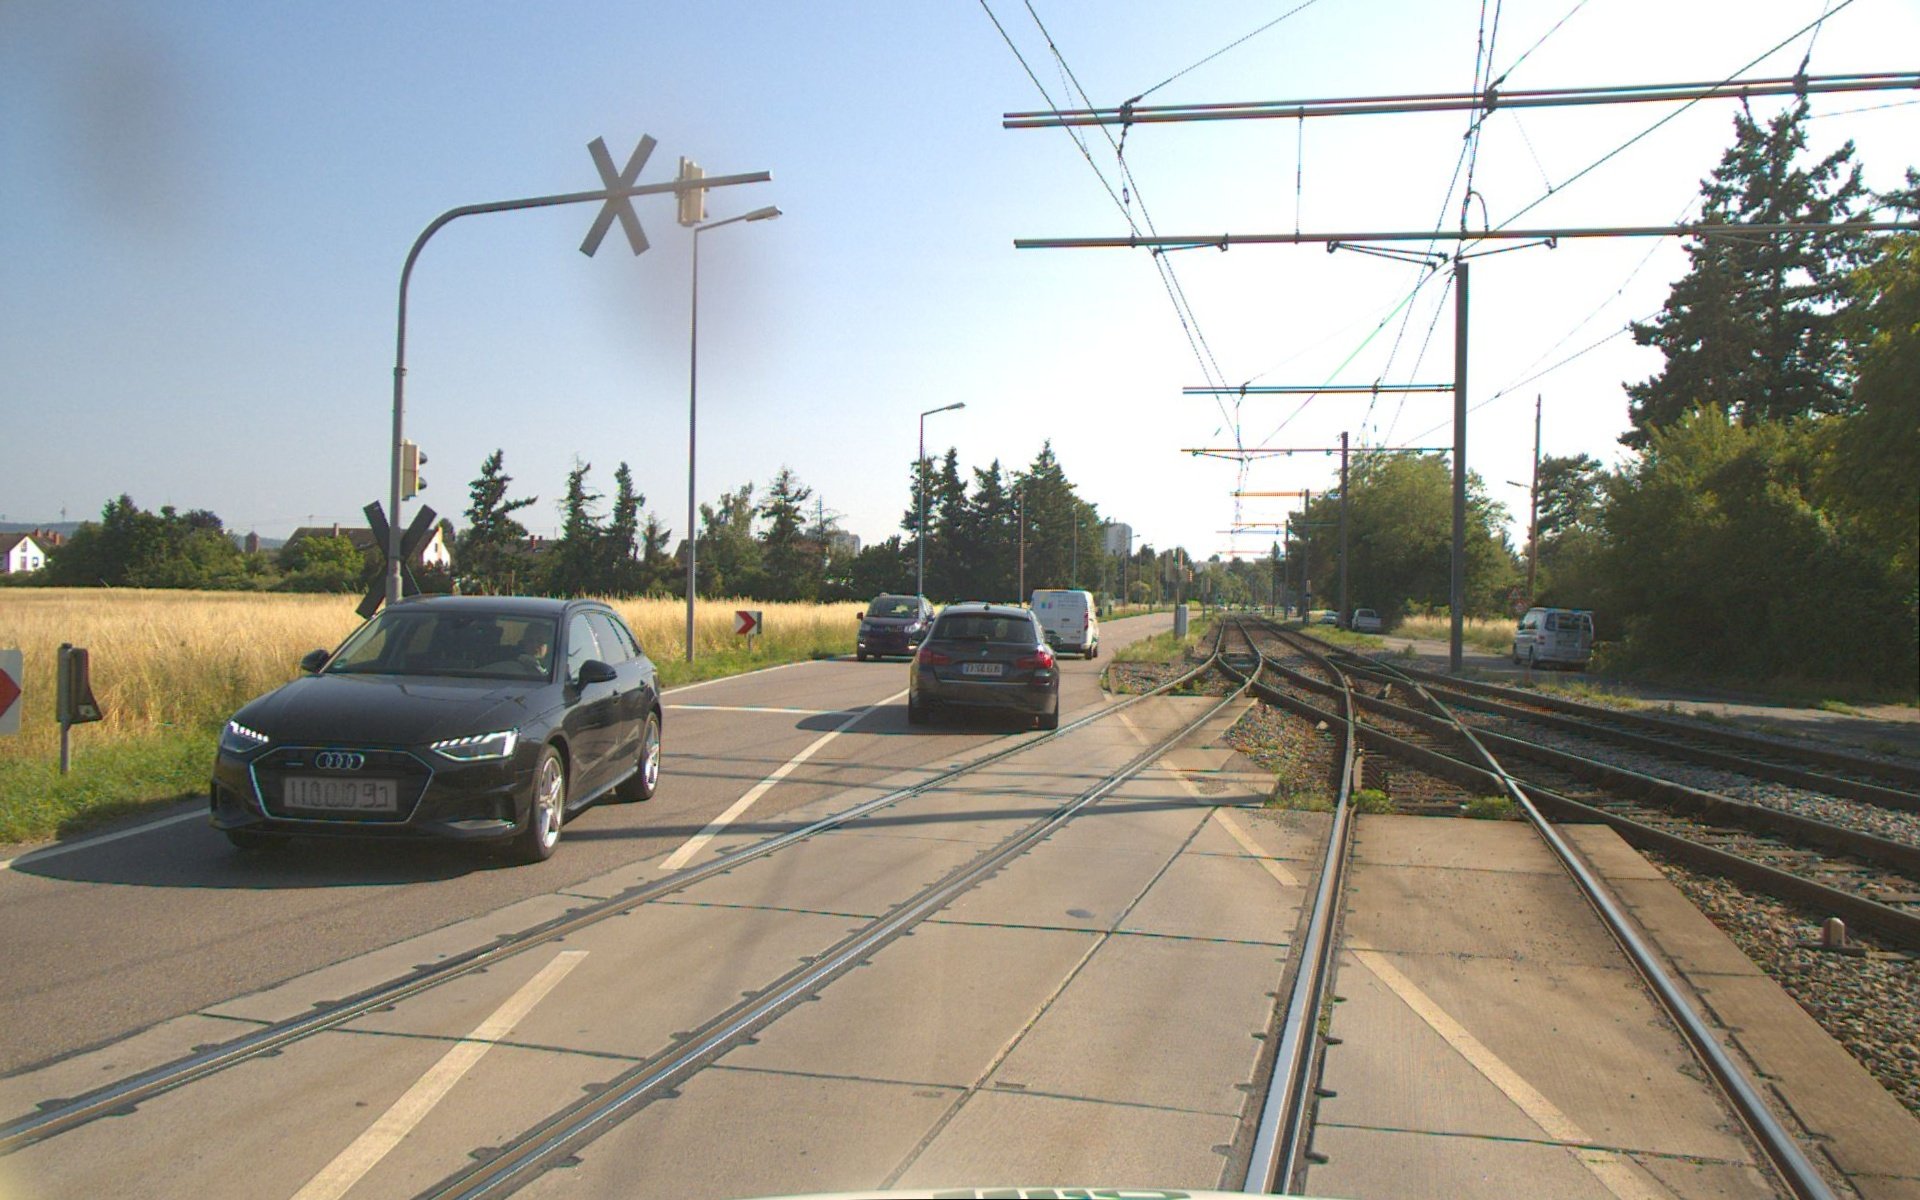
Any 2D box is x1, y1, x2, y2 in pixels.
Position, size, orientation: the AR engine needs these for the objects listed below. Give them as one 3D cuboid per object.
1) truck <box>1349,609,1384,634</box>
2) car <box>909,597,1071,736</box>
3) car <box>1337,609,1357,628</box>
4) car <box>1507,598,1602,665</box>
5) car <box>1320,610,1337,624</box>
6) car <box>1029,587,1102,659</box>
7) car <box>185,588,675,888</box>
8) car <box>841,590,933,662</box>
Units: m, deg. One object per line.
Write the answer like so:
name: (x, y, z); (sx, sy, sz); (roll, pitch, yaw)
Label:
truck: (32.007, 1.633, 130.326); (2.157, 1.851, 5.934); (1, 0, 9)
car: (0.326, 0.759, 21.465); (1.831, 1.478, 4.743); (2, 1, -1)
car: (36.939, 1.778, 158.016); (1.698, 1.709, 3.547); (2, -1, 12)
car: (19.940, 1.007, 55.718); (1.951, 2.039, 5.071); (3, 0, 8)
car: (39.199, 1.809, 175.893); (1.587, 1.423, 3.492); (2, -1, 9)
car: (3.259, 0.649, 50.317); (1.818, 2.022, 5.112); (2, 1, 8)
car: (-3.083, 0.691, 10.609); (1.658, 1.464, 4.284); (2, 1, 1)
car: (-1.797, 0.606, 42.340); (1.670, 1.694, 4.593); (1, 1, 6)
